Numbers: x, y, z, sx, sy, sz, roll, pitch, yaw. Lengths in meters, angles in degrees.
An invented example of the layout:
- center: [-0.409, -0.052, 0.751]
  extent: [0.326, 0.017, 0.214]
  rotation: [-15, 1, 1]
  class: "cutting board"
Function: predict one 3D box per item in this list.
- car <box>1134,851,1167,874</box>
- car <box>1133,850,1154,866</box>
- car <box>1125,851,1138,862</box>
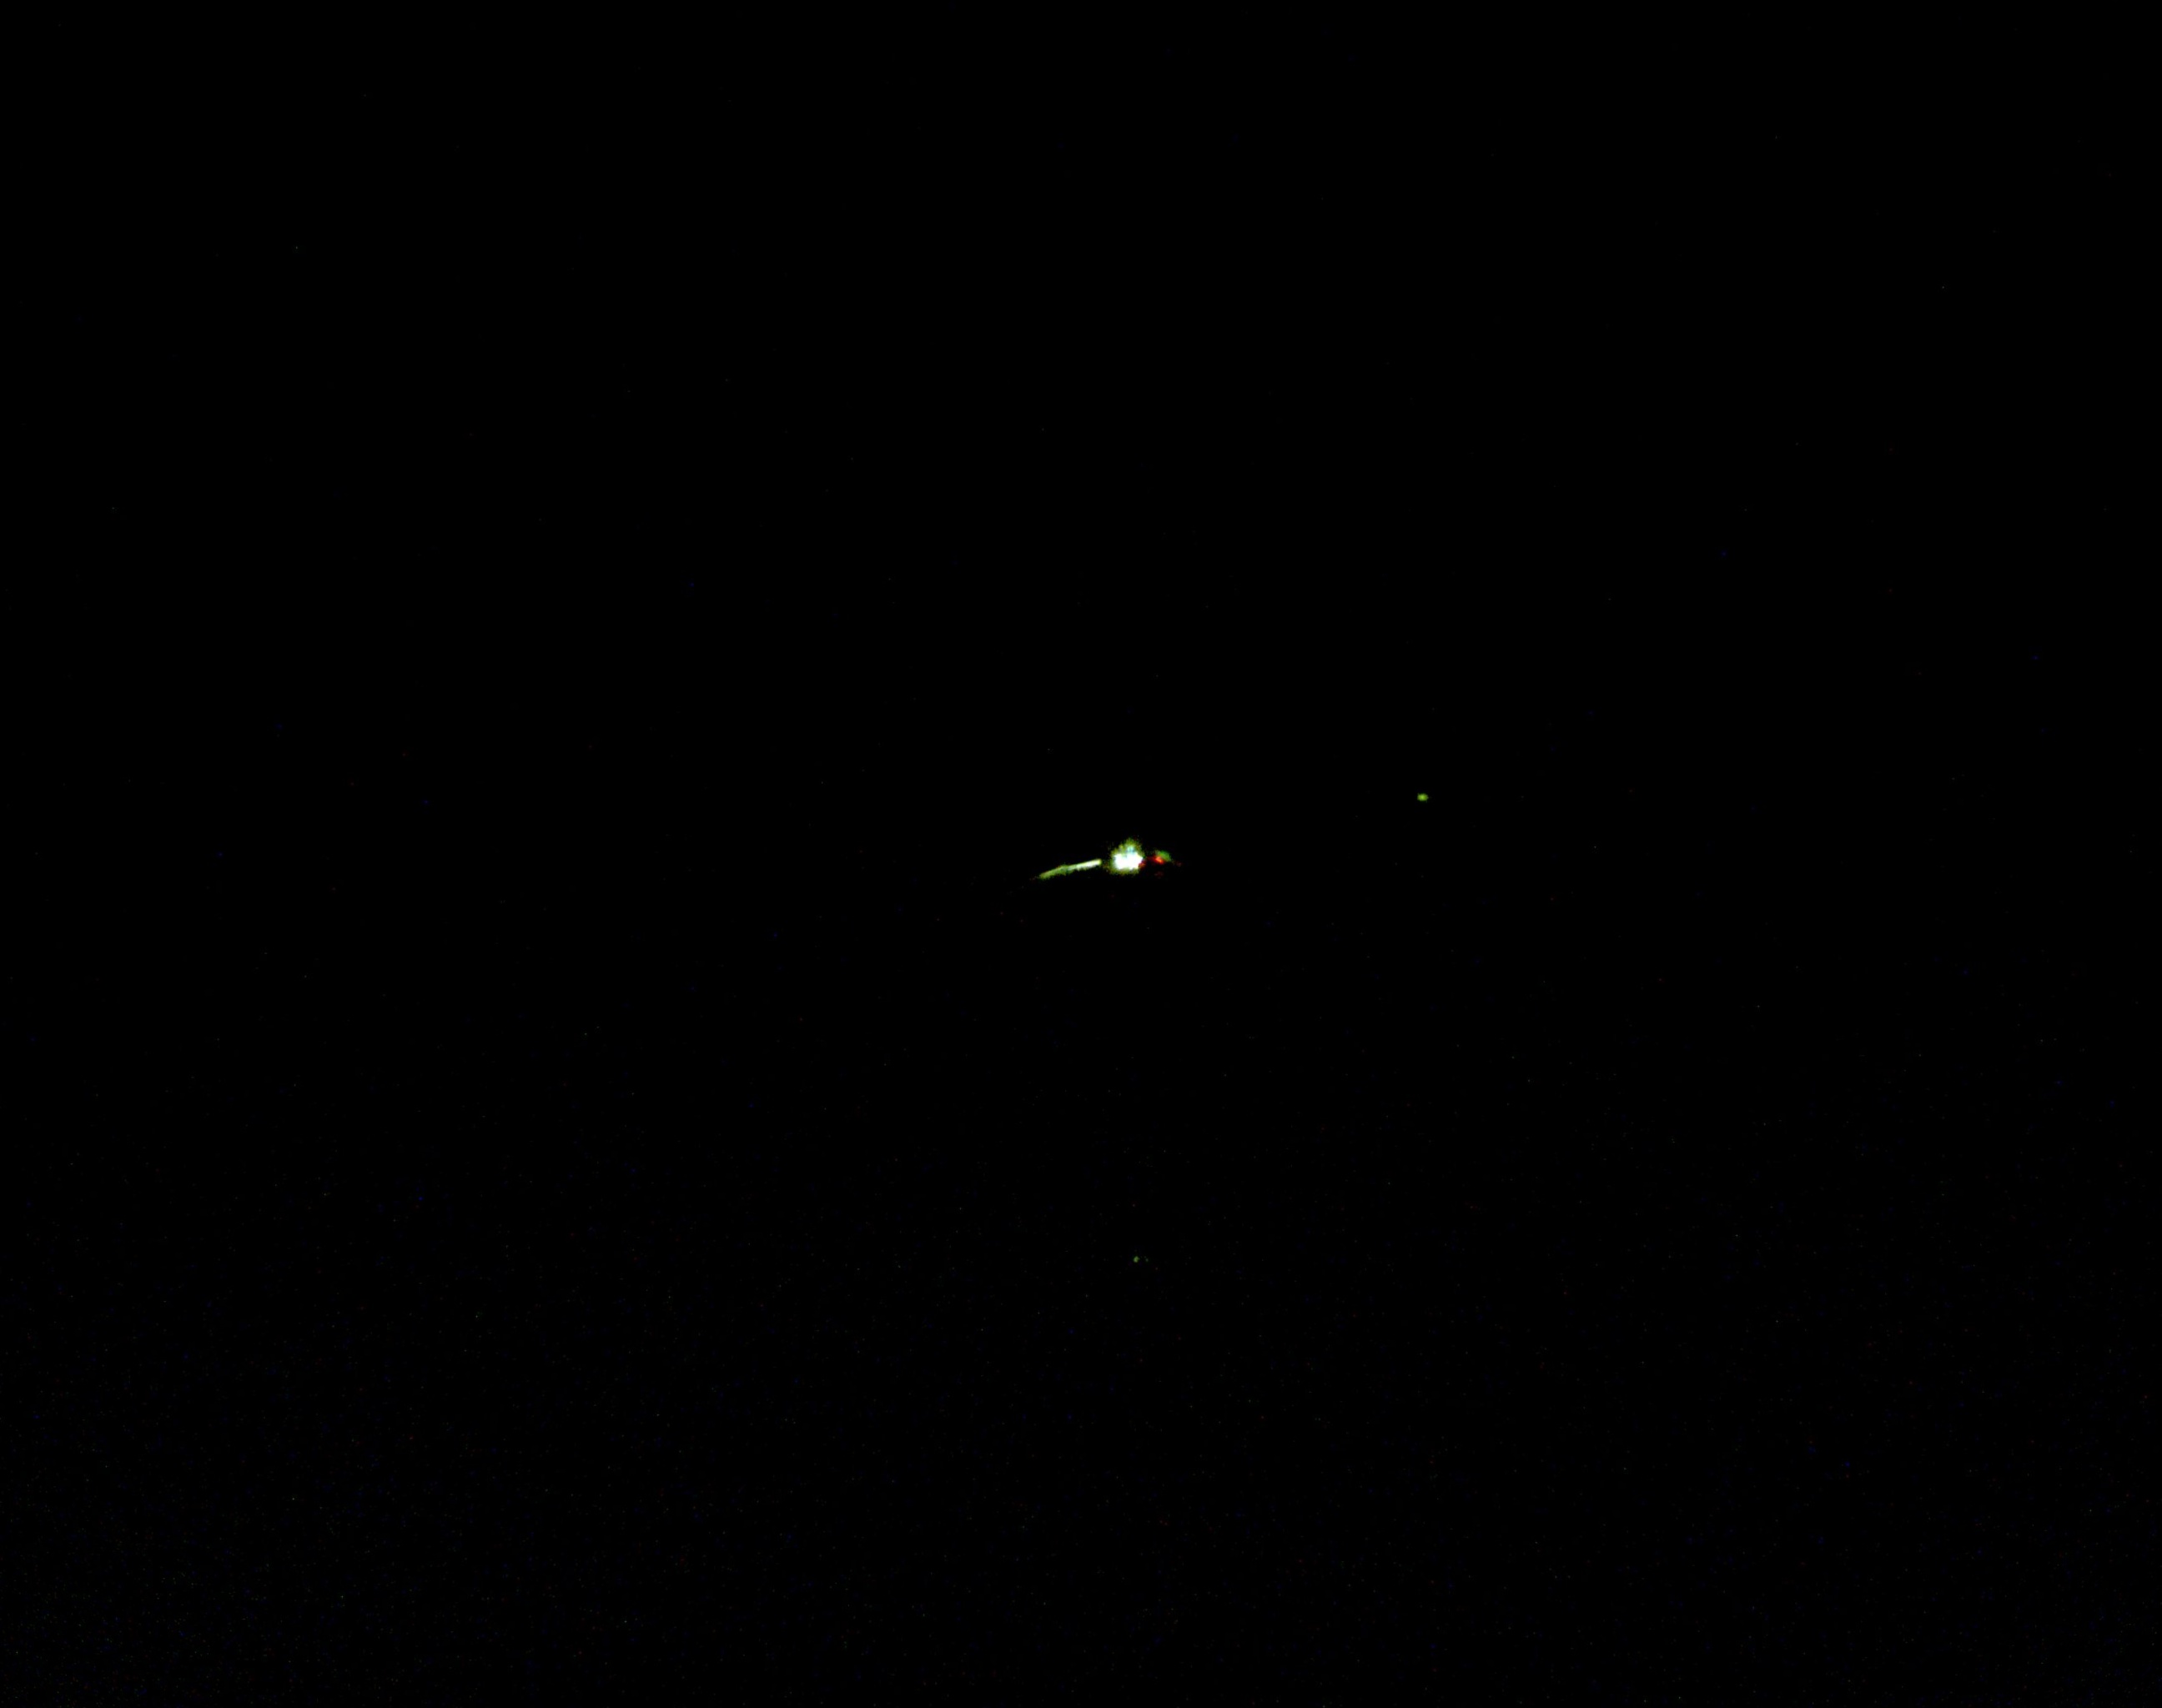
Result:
- center: [4.662, 0.536, 51.459]
  extent: [1.837, 1.474, 4.069]
  rotation: [-2, 0, 1]
  class: "car"
- center: [6.161, 0.397, 75.196]
  extent: [1.837, 1.474, 4.353]
  rotation: [-2, 0, 2]
  class: "car"
- center: [7.488, 0.356, 112.321]
  extent: [1.746, 1.623, 3.736]
  rotation: [-2, 0, 2]
  class: "car"
